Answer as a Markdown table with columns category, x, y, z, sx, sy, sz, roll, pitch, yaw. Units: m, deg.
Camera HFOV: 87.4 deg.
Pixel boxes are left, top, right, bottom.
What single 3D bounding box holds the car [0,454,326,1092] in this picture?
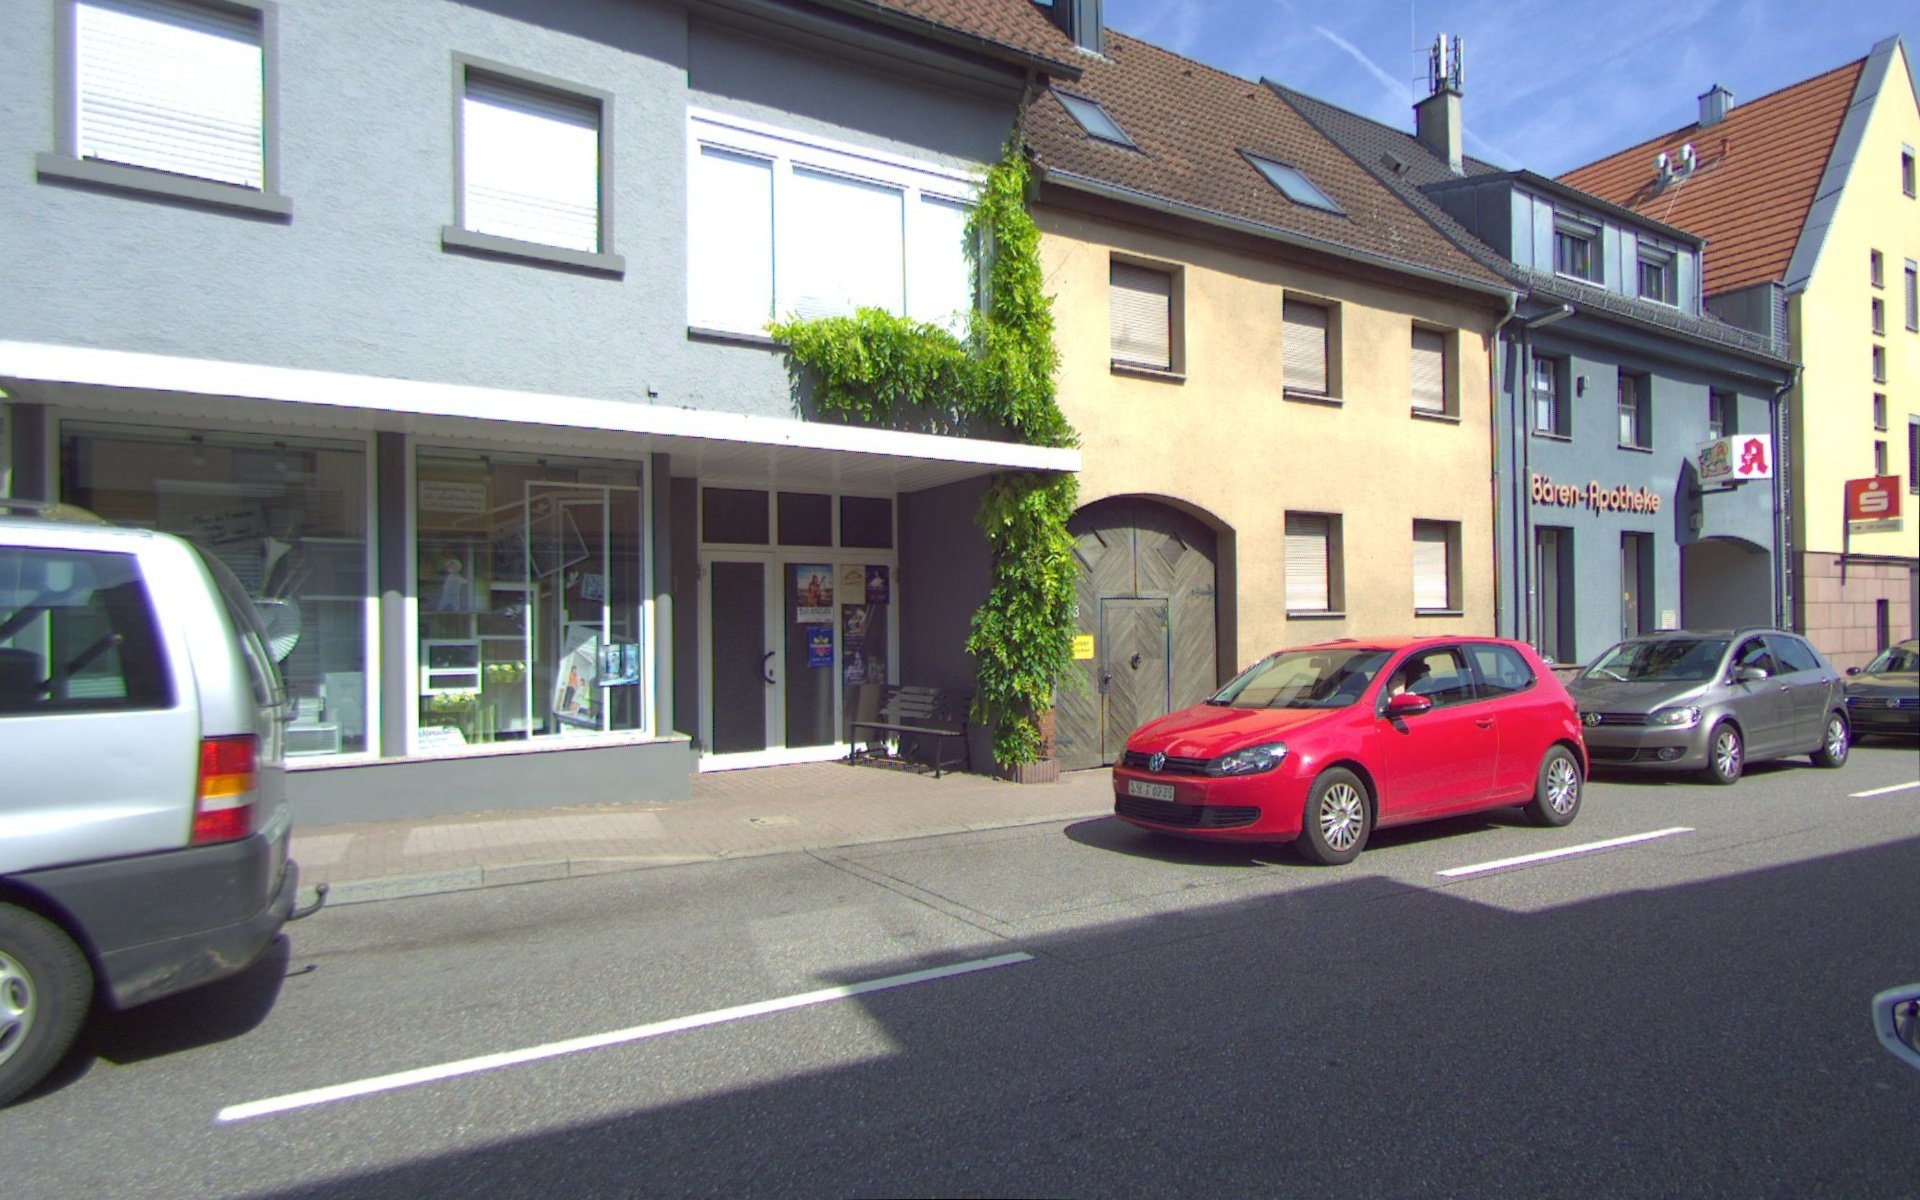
| category | x | y | z | sx | sy | sz | roll | pitch | yaw |
| --- | --- | --- | --- | --- | --- | --- | --- | --- | --- |
| car | -4.647 | 0.543 | 3.061 | 4.500 | 1.915 | 1.874 | 1 | -4 | -31 |

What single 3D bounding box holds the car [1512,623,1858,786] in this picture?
| category | x | y | z | sx | sy | sz | roll | pitch | yaw |
| --- | --- | --- | --- | --- | --- | --- | --- | --- | --- |
| car | 8.175 | 1.071 | 11.260 | 3.971 | 1.540 | 1.622 | 1 | -3 | -30 |

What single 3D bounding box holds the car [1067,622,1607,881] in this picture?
| category | x | y | z | sx | sy | sz | roll | pitch | yaw |
| --- | --- | --- | --- | --- | --- | --- | --- | --- | --- |
| car | 2.957 | 0.970 | 7.703 | 4.030 | 1.512 | 1.750 | 1 | -3 | -31 |

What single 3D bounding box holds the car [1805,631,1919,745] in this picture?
| category | x | y | z | sx | sy | sz | roll | pitch | yaw |
| --- | --- | --- | --- | --- | --- | --- | --- | --- | --- |
| car | 14.154 | 1.194 | 14.342 | 4.371 | 1.469 | 1.781 | 1 | -3 | -30 |
